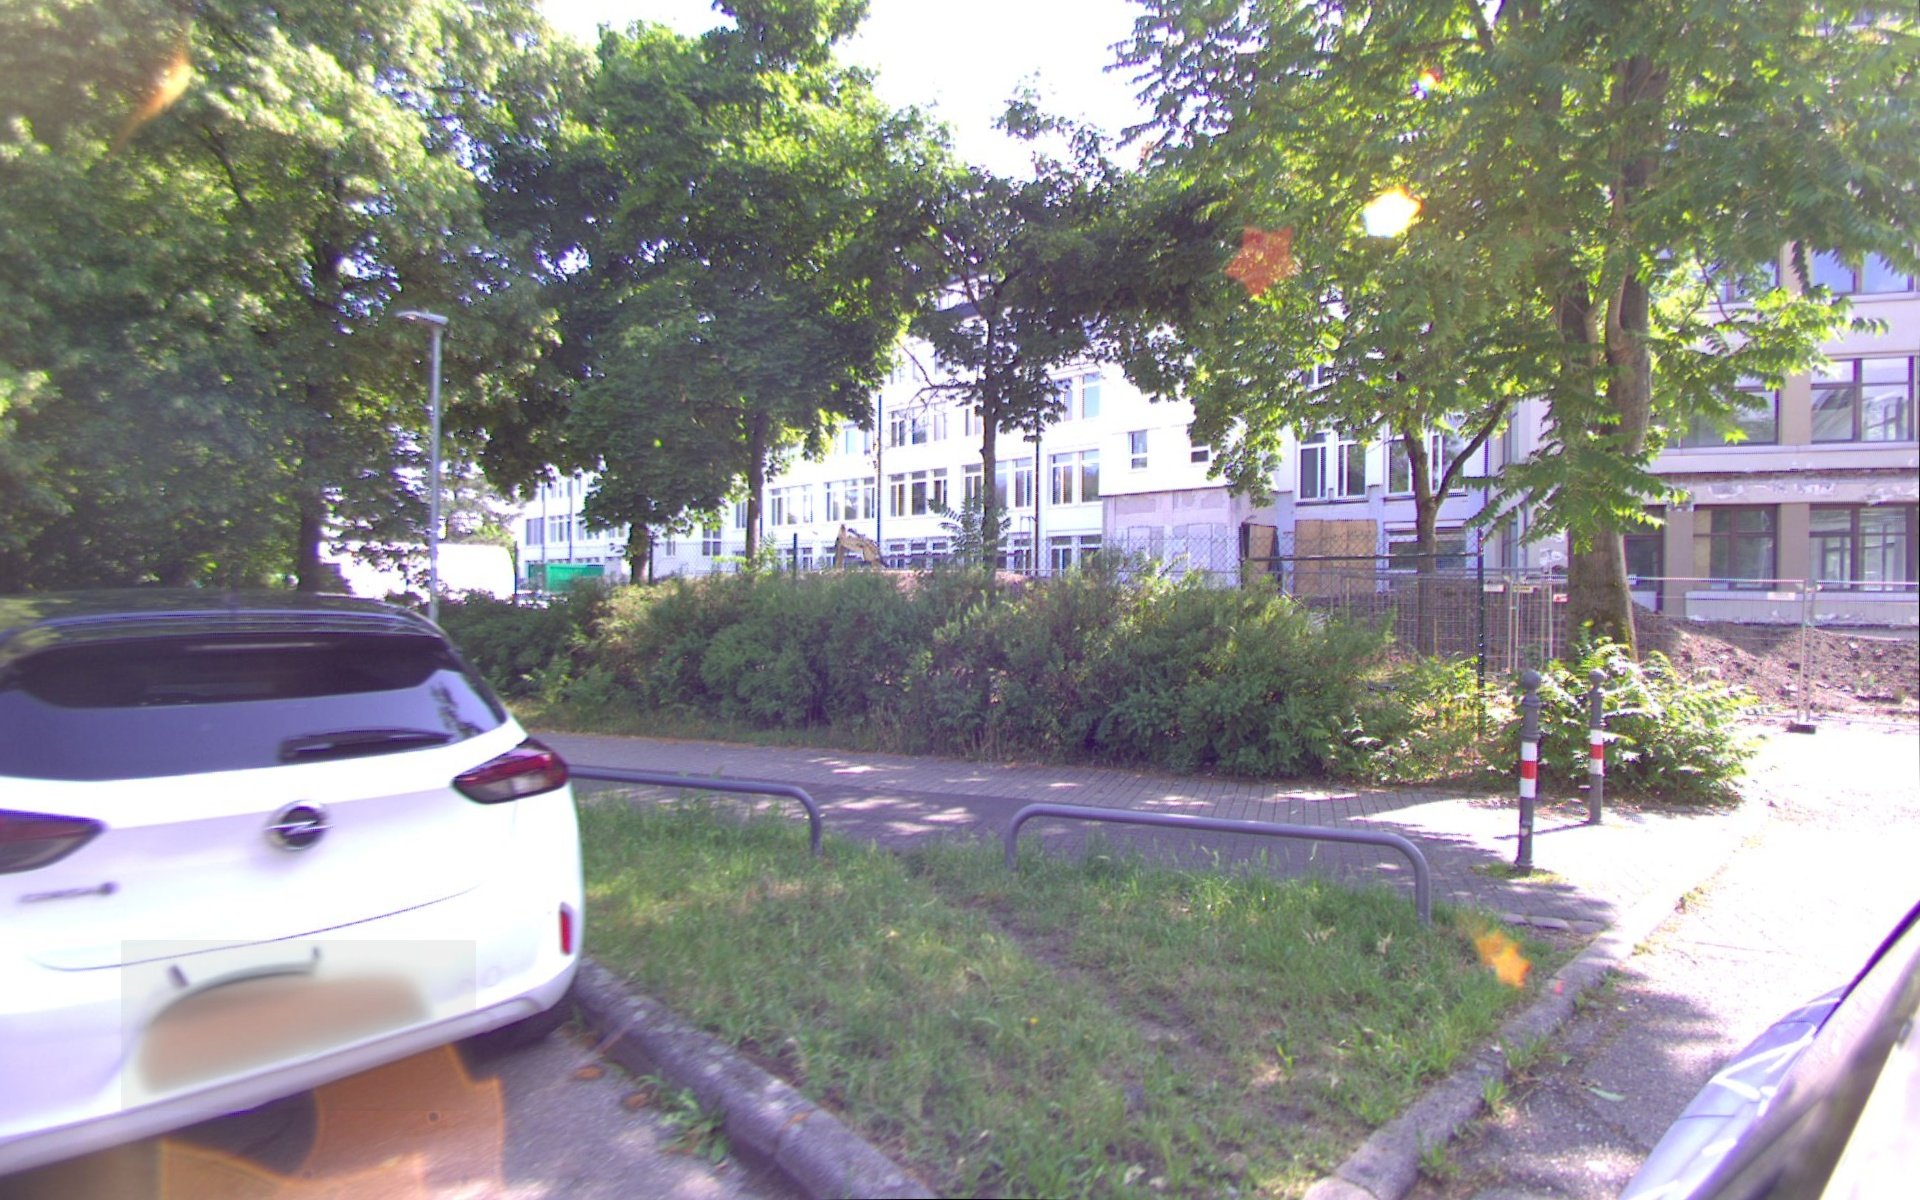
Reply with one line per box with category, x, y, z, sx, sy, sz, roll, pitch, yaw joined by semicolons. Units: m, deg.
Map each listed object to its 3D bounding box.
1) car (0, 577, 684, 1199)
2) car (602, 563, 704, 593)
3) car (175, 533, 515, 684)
car;-2.753;0.658;3.578;3.905;1.437;1.731;2;2;45
car;-15.948;-1.091;52.694;4.788;1.446;1.840;0;-1;-44
car;-14.358;0.206;24.325;1.982;3.086;6.903;0;-1;29
